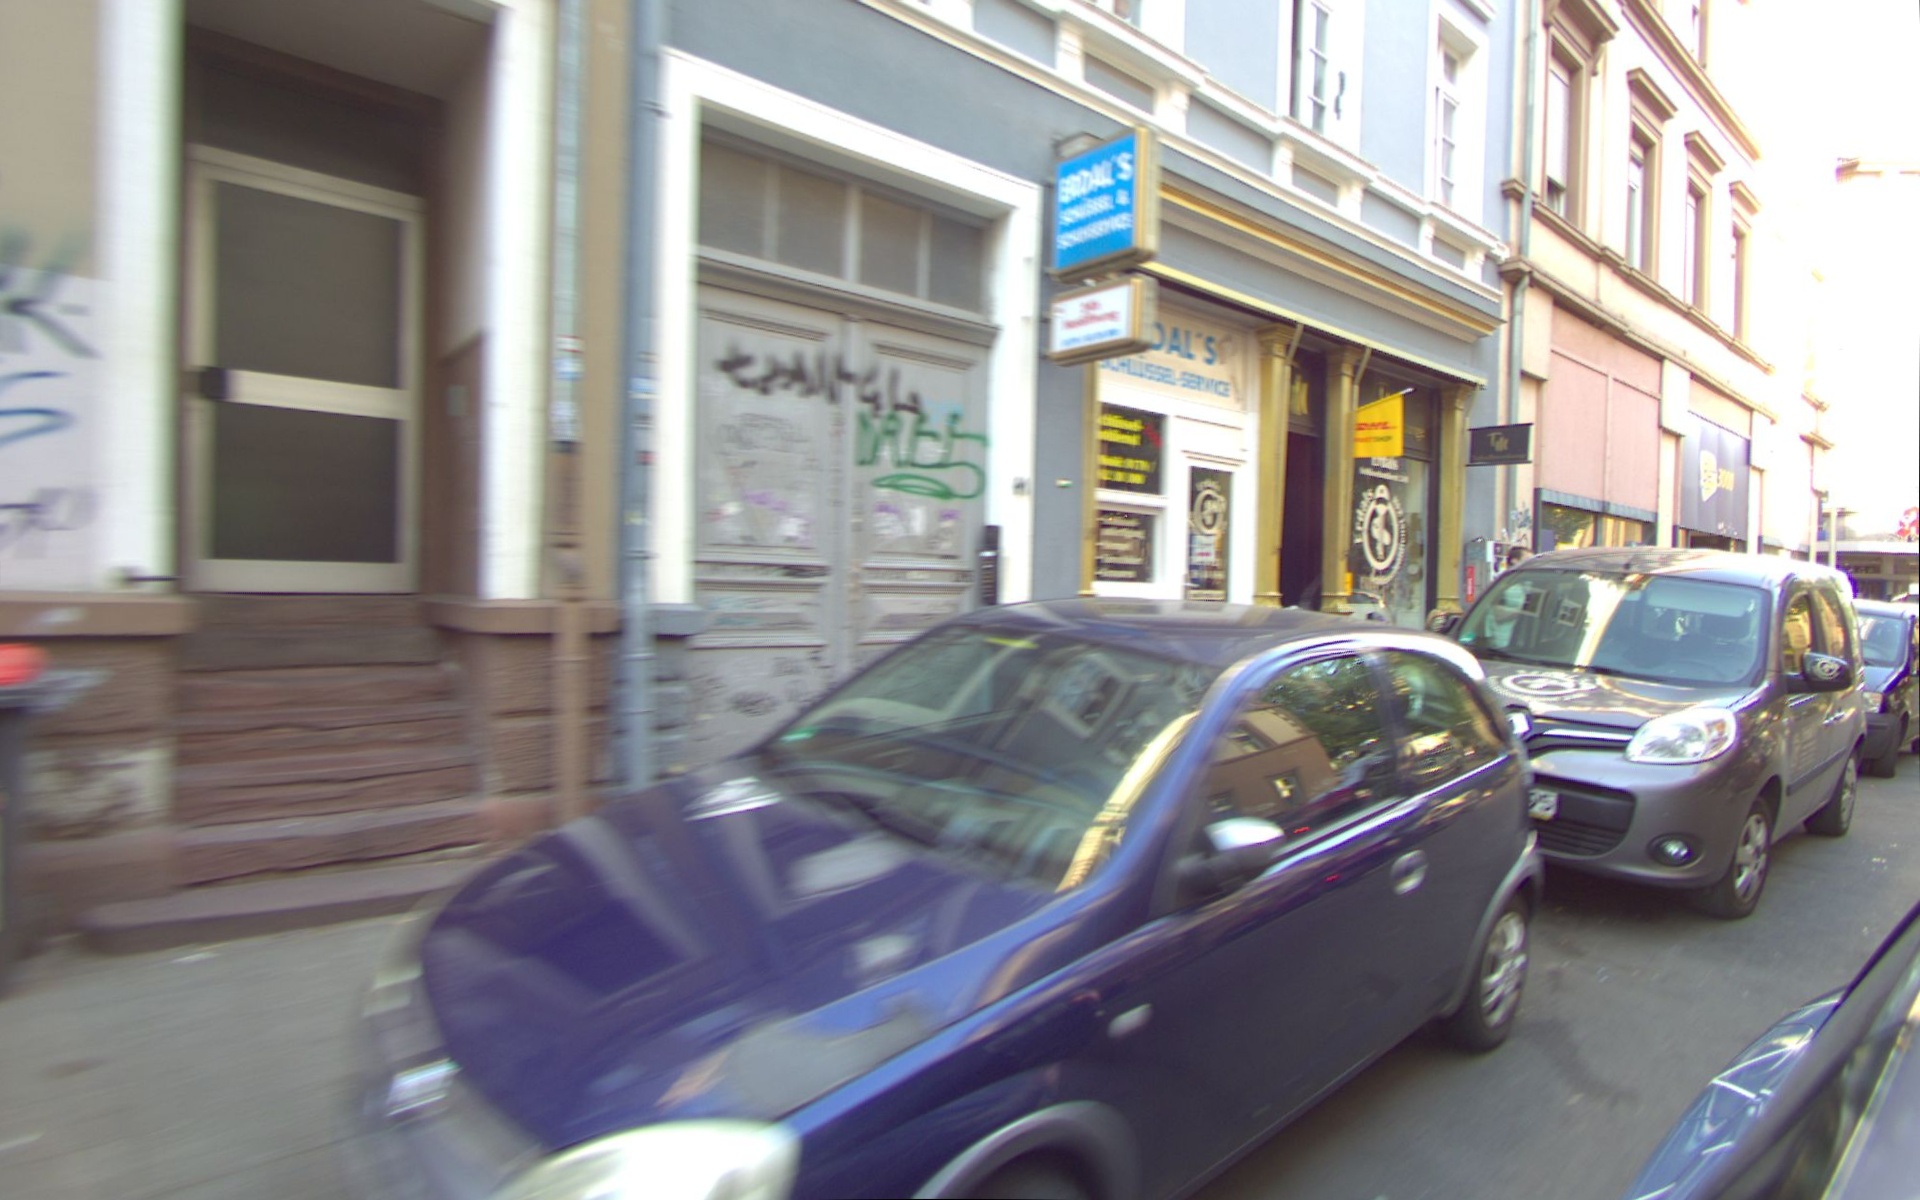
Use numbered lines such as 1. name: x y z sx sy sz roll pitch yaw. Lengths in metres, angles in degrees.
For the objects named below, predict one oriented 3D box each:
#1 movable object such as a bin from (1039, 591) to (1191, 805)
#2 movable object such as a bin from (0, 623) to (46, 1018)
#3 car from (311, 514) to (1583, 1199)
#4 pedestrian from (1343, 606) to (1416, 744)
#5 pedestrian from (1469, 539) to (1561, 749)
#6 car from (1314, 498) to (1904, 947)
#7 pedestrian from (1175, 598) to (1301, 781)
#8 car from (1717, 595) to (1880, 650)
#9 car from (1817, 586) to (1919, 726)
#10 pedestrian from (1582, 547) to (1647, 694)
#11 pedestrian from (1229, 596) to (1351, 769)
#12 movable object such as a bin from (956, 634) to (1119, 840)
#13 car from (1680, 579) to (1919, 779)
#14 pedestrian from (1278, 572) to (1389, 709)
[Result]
1. movable object such as a bin: 0.991 0.582 6.527 0.570 1.259 0.763 0 2 -42
2. movable object such as a bin: -3.185 0.649 3.040 0.621 1.101 0.696 0 2 -40
3. car: 0.357 0.651 2.916 3.551 1.530 1.554 -1 0 -43
4. pedestrian: 3.922 0.678 9.466 0.505 1.238 0.439 0 0 -38
5. pedestrian: 4.827 0.364 8.804 0.551 1.762 0.428 0 0 -19
6. car: 4.170 0.474 6.209 4.239 1.816 1.902 -1 0 -41
7. pedestrian: 2.099 0.636 7.655 0.617 1.293 0.677 0 0 -38
8. car: 25.525 0.628 30.895 1.757 1.504 3.581 0 1 -39
9. car: 12.172 0.620 12.701 3.491 1.592 1.609 -1 0 -40
10. pedestrian: 8.156 0.245 12.604 0.627 1.762 0.650 -1 0 38
11. pedestrian: 2.630 0.619 8.086 0.642 1.293 0.677 0 0 -38
12. movable object such as a bin: 0.467 0.785 6.171 0.673 1.105 0.726 0 0 -42
13. car: 8.643 0.626 9.985 3.253 1.575 1.575 -1 4 -38
14. pedestrian: 3.269 0.330 8.869 0.642 1.139 0.677 0 0 -38
